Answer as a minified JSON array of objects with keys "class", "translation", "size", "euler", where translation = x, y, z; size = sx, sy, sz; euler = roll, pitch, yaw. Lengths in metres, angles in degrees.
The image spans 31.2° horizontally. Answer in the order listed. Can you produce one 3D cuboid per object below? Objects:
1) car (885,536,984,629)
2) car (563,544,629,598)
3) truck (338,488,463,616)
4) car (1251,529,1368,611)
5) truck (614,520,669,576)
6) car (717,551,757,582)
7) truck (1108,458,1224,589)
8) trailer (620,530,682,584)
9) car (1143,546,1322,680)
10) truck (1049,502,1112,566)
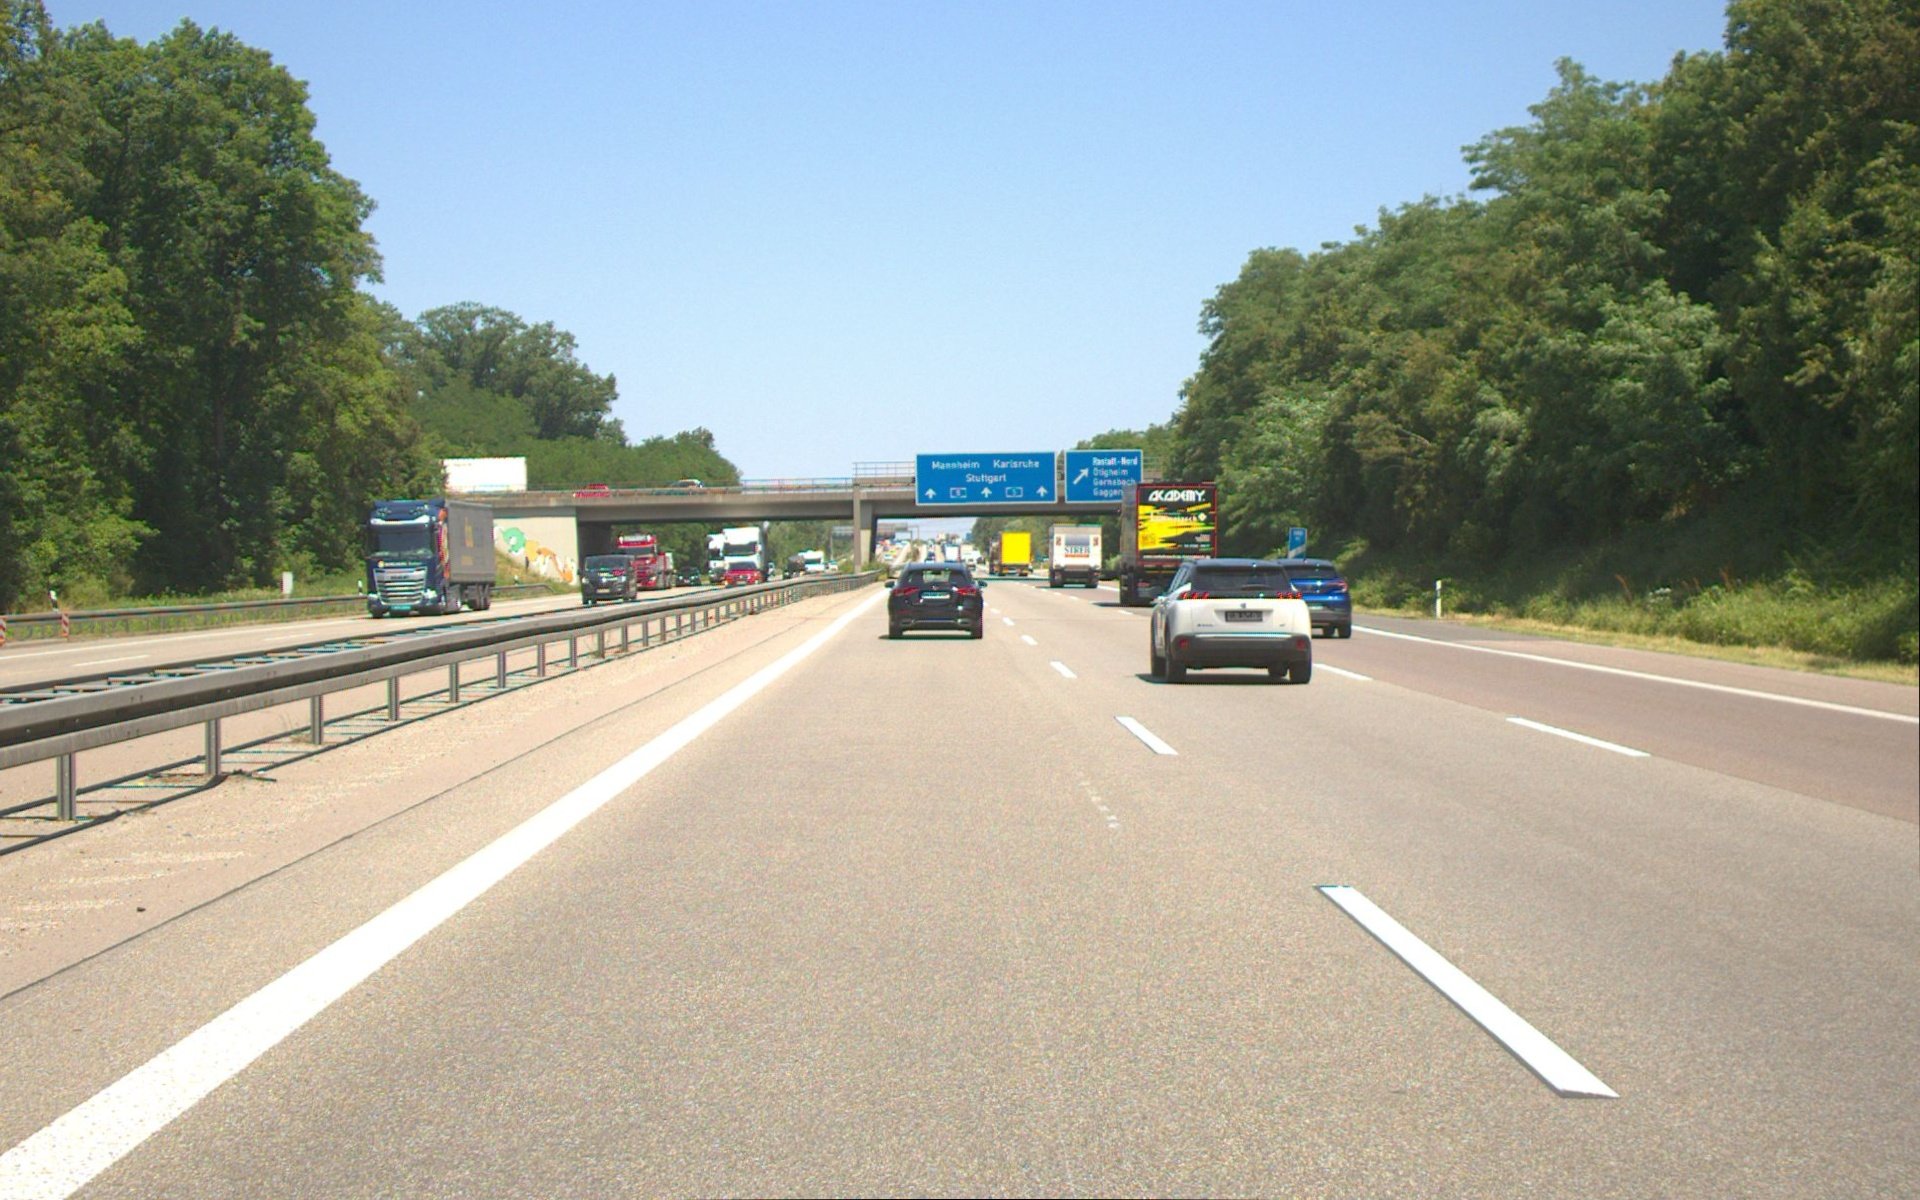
[{"class":"car","translation":[-0.493,-0.349,65.623],"size":[1.827,1.700,4.000],"euler":[1,0,-1]},{"class":"car","translation":[-14.663,-1.174,138.735],"size":[1.993,2.007,5.359],"euler":[-3,1,0]},{"class":"truck","translation":[-19.457,-1.664,119.916],"size":[3.323,4.327,6.613],"euler":[1,0,-1]},{"class":"car","translation":[6.925,-0.600,68.466],"size":[1.870,1.551,4.201],"euler":[1,1,0]},{"class":"truck","translation":[-19.991,-3.243,216.049],"size":[2.749,3.382,7.662],"euler":[1,0,0]},{"class":"car","translation":[-11.652,-1.740,179.483],"size":[1.731,1.579,4.644],"euler":[1,1,0]},{"class":"truck","translation":[6.661,-2.441,112.915],"size":[2.975,4.023,10.982],"euler":[1,0,0]},{"class":"trailer","translation":[-20.000,-2.788,223.182],"size":[2.779,3.382,13.290],"euler":[1,1,0]},{"class":"car","translation":[3.390,0.138,43.569],"size":[1.827,1.602,4.809],"euler":[0,1,-1]},{"class":"truck","translation":[6.606,-3.543,187.284],"size":[3.028,3.308,10.769],"euler":[1,1,4]}]
